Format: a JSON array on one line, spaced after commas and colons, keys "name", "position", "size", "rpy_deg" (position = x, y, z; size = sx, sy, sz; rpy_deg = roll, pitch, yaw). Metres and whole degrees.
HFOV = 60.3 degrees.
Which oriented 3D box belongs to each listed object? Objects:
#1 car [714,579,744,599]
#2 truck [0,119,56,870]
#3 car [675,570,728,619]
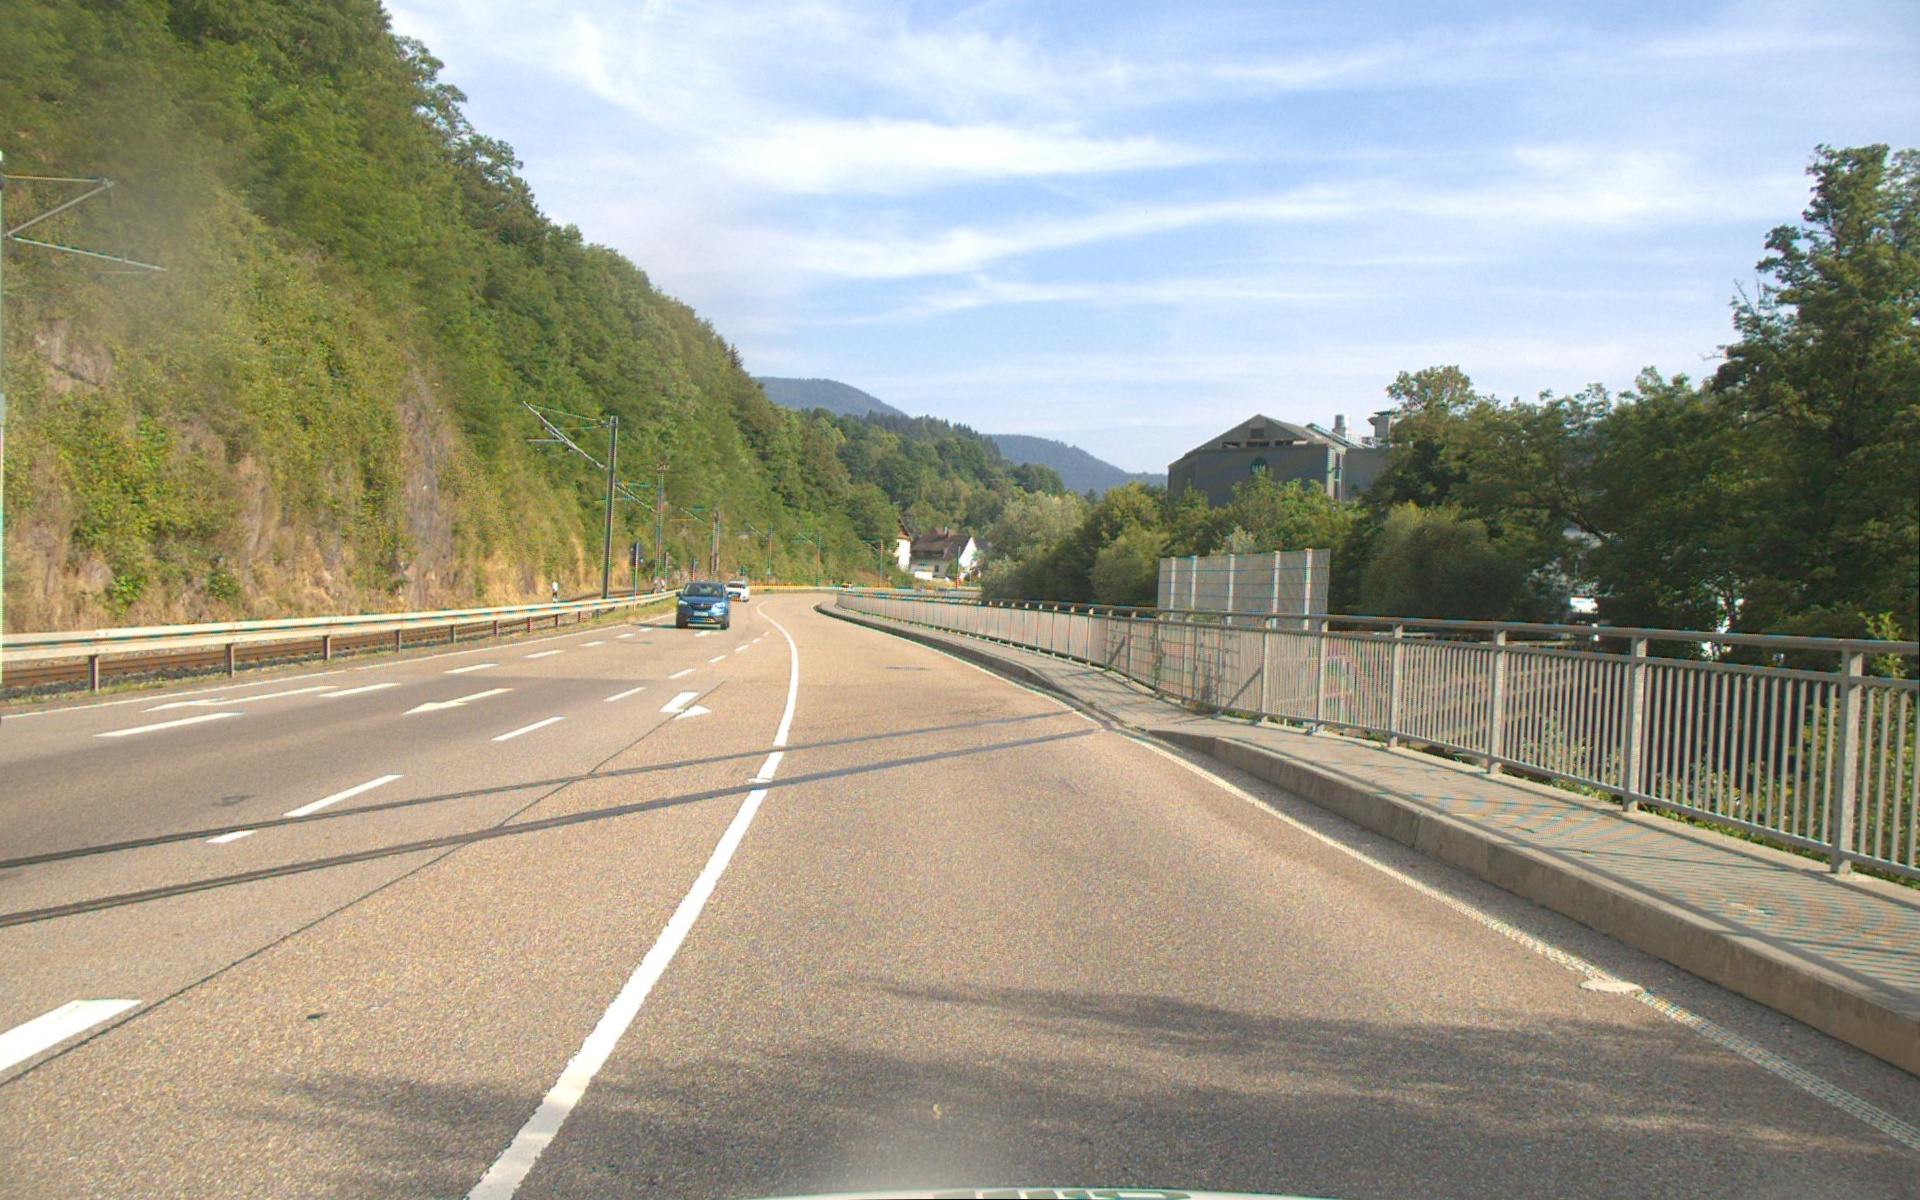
[{"name": "car", "position": [-17.603, -0.849, 126.043], "size": [2.024, 1.464, 4.680], "rpy_deg": [2, 1, -6]}, {"name": "truck", "position": [-6.337, -0.514, 4.552], "size": [2.838, 3.865, 8.893], "rpy_deg": [1, 1, -1]}, {"name": "car", "position": [-8.835, -0.207, 56.754], "size": [1.686, 1.598, 4.128], "rpy_deg": [1, 1, -8]}]
